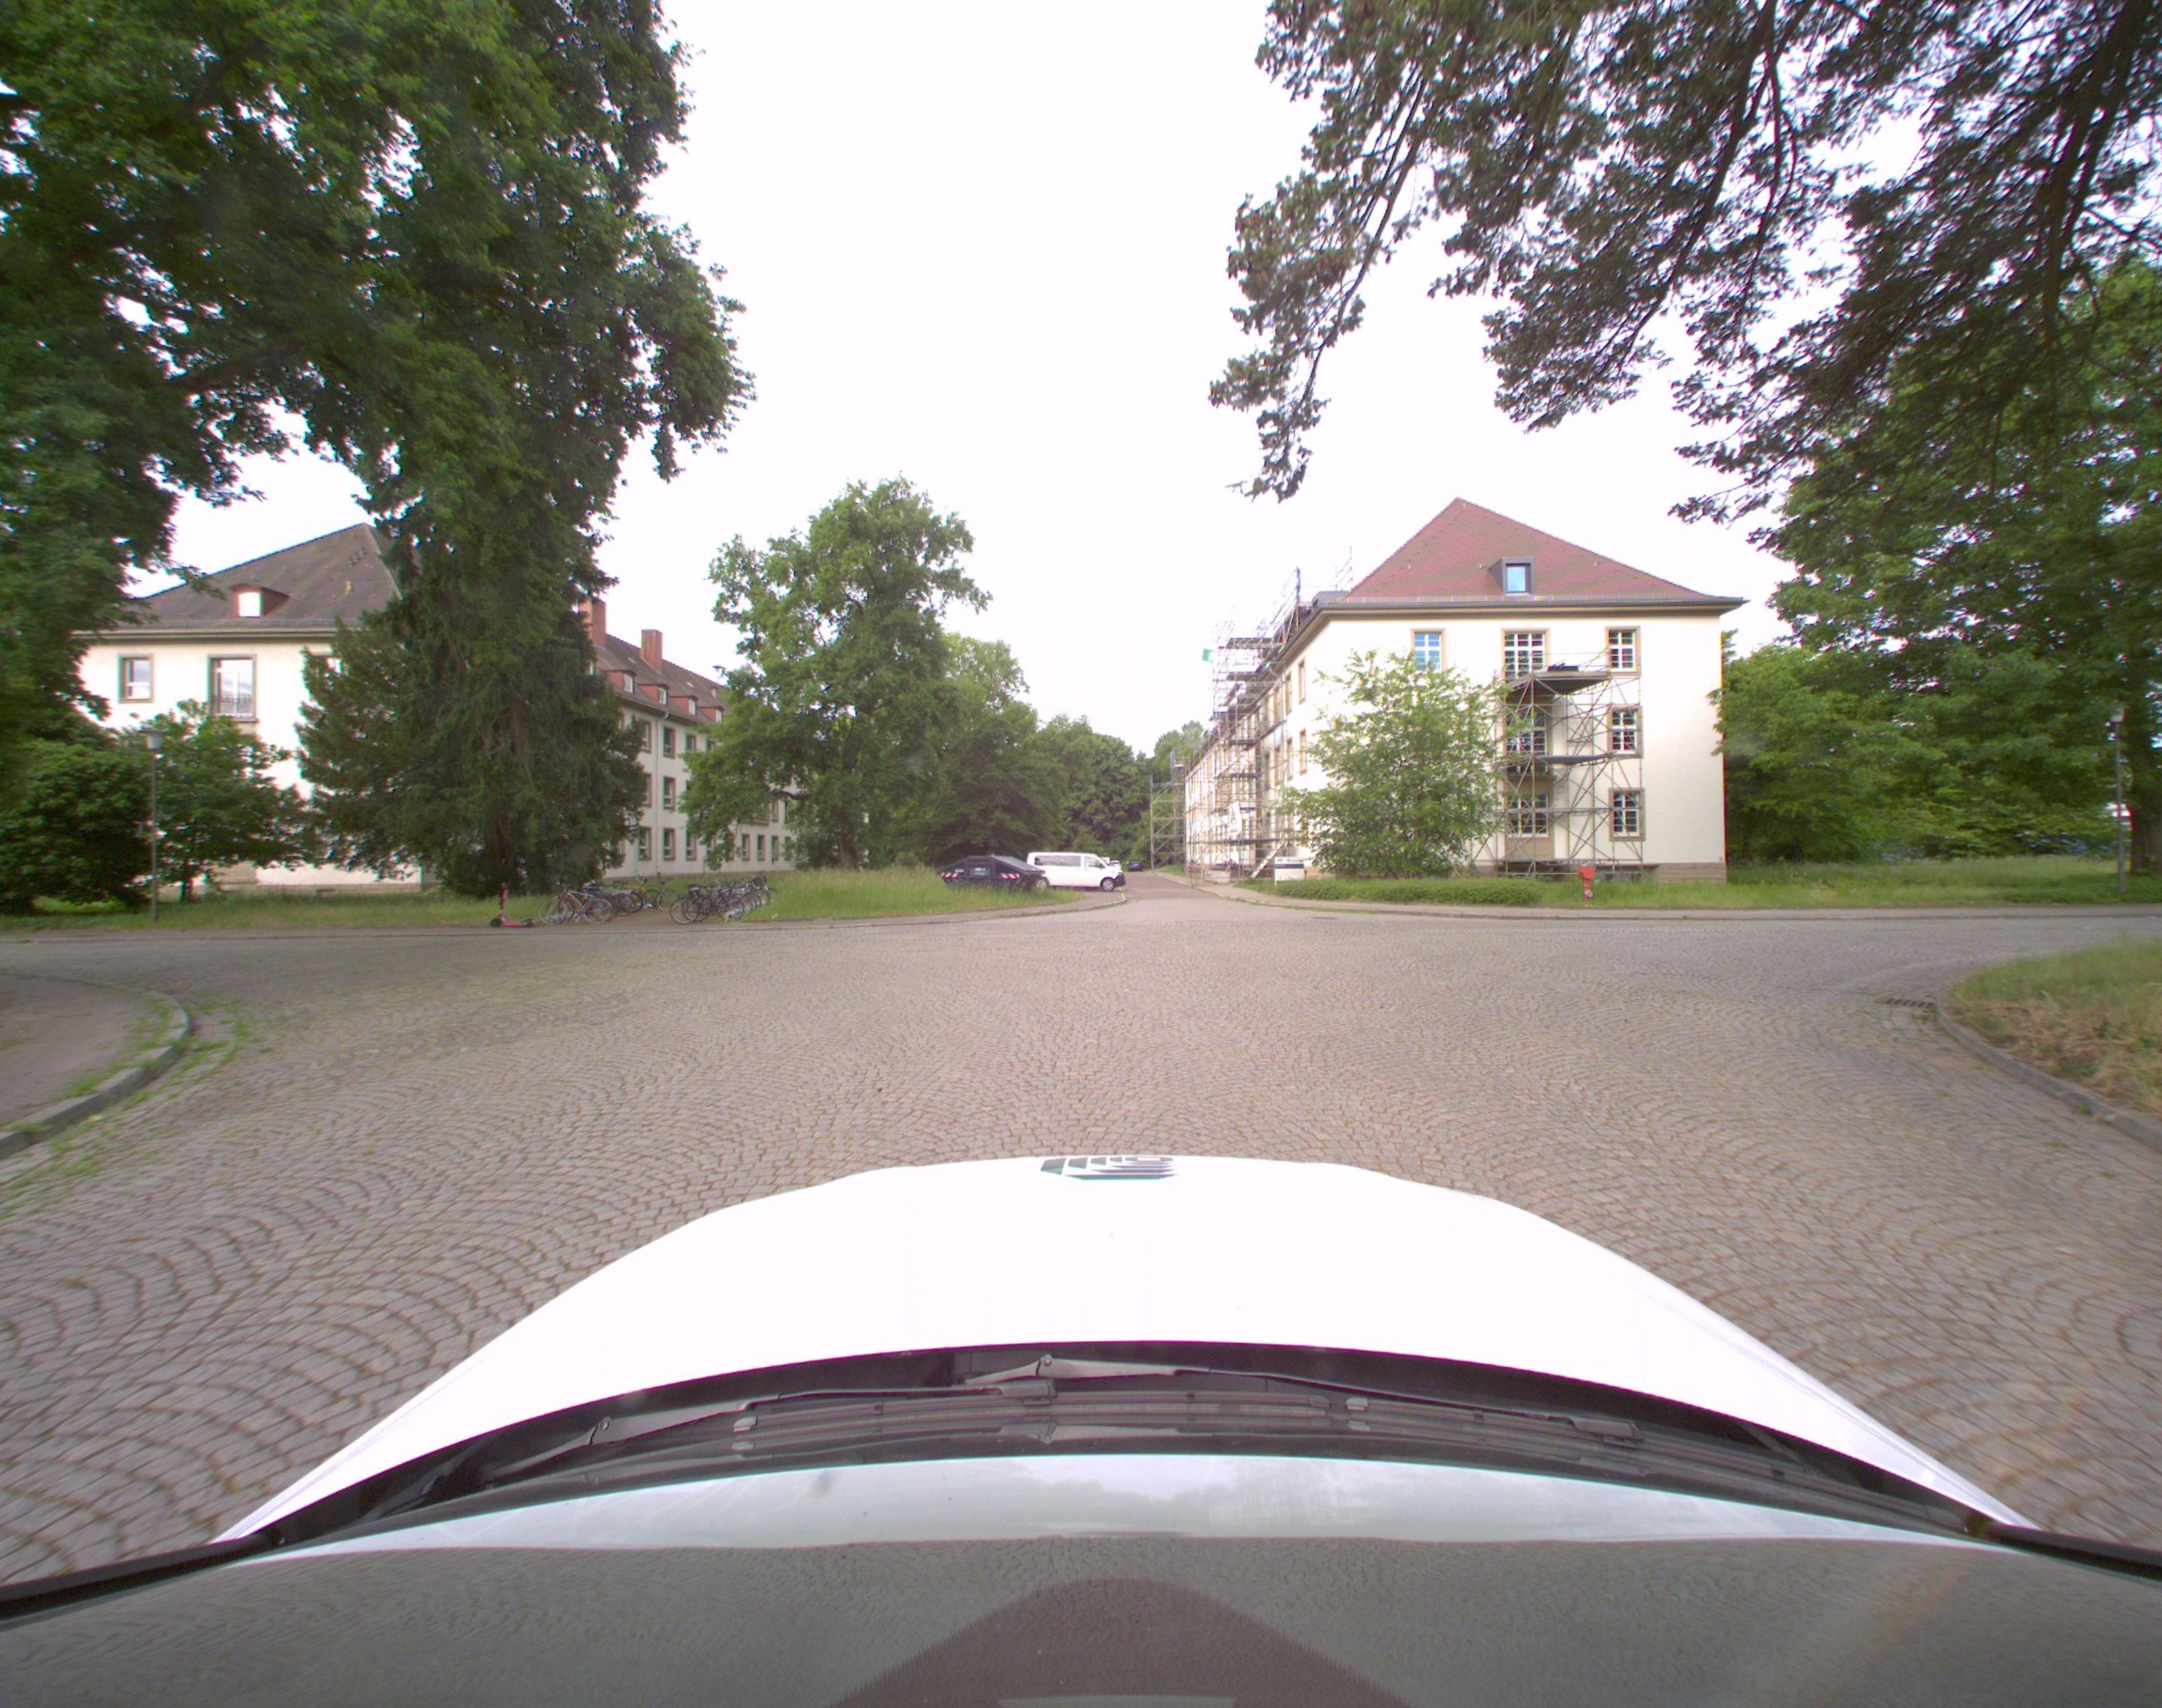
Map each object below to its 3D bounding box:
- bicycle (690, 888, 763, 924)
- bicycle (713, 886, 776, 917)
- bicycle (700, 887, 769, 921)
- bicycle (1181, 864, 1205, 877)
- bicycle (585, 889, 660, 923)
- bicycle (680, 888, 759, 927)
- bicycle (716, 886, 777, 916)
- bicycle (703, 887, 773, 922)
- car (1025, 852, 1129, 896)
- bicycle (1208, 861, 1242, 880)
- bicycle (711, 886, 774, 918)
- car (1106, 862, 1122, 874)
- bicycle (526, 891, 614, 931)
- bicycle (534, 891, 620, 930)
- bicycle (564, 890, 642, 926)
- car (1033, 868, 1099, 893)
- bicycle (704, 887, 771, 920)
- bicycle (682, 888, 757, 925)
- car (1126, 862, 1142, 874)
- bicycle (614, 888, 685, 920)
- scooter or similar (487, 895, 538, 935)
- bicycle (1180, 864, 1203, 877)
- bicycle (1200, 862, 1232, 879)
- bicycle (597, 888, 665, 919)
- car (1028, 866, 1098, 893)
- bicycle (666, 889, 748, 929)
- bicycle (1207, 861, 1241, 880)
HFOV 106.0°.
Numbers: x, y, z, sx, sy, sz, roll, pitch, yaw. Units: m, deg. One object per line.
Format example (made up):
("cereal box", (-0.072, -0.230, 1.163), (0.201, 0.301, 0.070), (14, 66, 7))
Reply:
("bicycle", (-10.536, 1.526, 24.265), (1.965, 0.989, 0.622), (-1, -1, -21))
("bicycle", (-11.620, 1.628, 28.170), (1.965, 0.989, 0.622), (-1, -1, -21))
("bicycle", (-10.982, 1.568, 25.877), (1.965, 0.989, 0.622), (-1, -1, -21))
("bicycle", (10.803, 1.578, 78.834), (2.230, 1.254, 0.627), (-1, -1, 3))
("bicycle", (-14.584, 1.643, 25.945), (1.957, 0.989, 0.625), (-1, -1, -9))
("bicycle", (-10.037, 1.483, 22.656), (1.965, 0.989, 0.622), (-1, -1, -21))
("bicycle", (-11.851, 1.647, 28.896), (1.965, 0.989, 0.622), (-1, -1, -21))
("bicycle", (-10.561, 1.544, 25.142), (1.965, 0.989, 0.622), (-1, -1, -21))
("car", (-0.212, 1.008, 42.201), (5.219, 2.168, 1.999), (-1, -1, -1))
("bicycle", (9.702, 1.109, 54.953), (2.230, 1.254, 0.778), (-1, -1, 3))
("bicycle", (-11.441, 1.612, 27.596), (1.965, 0.989, 0.622), (-1, -1, -21))
("car", (4.361, 1.910, 108.128), (2.111, 1.522, 4.000), (-1, -1, 1))
("bicycle", (-14.010, 1.558, 22.385), (1.967, 0.989, 0.622), (-1, -1, -25))
("bicycle", (-14.123, 1.570, 22.877), (1.965, 0.989, 0.622), (-1, -1, -21))
("bicycle", (-14.398, 1.611, 24.592), (1.967, 0.989, 0.622), (-1, -1, -25))
("car", (-0.835, 1.539, 47.335), (3.776, 1.395, 2.000), (-1, -1, 0))
("bicycle", (-11.140, 1.583, 26.463), (1.965, 0.989, 0.622), (-1, -1, -21))
("bicycle", (-10.459, 1.512, 23.637), (1.965, 0.989, 0.622), (-1, -1, -21))
("car", (7.038, 1.860, 108.367), (1.944, 1.522, 4.000), (-1, -1, 0))
("bicycle", (-14.268, 1.656, 26.946), (1.957, 0.989, 0.625), (-1, -1, -9))
("scooter or similar", (-15.045, 1.603, 21.562), (1.337, 1.038, 0.455), (-1, -1, 23))
("bicycle", (10.847, 1.599, 79.903), (2.230, 1.254, 0.699), (-1, -1, 3))
("bicycle", (9.792, 1.195, 59.209), (2.230, 1.254, 0.778), (-1, -1, 3))
("bicycle", (-15.681, 1.714, 28.404), (1.961, 0.989, 0.623), (-1, -1, -16))
("car", (-0.979, 1.362, 44.807), (3.778, 1.395, 1.999), (-1, -1, -1))
("bicycle", (-10.084, 1.471, 22.032), (1.963, 0.989, 0.623), (-1, -1, -19))
("bicycle", (9.977, 1.143, 56.859), (2.230, 1.254, 0.778), (-1, -1, 3))
